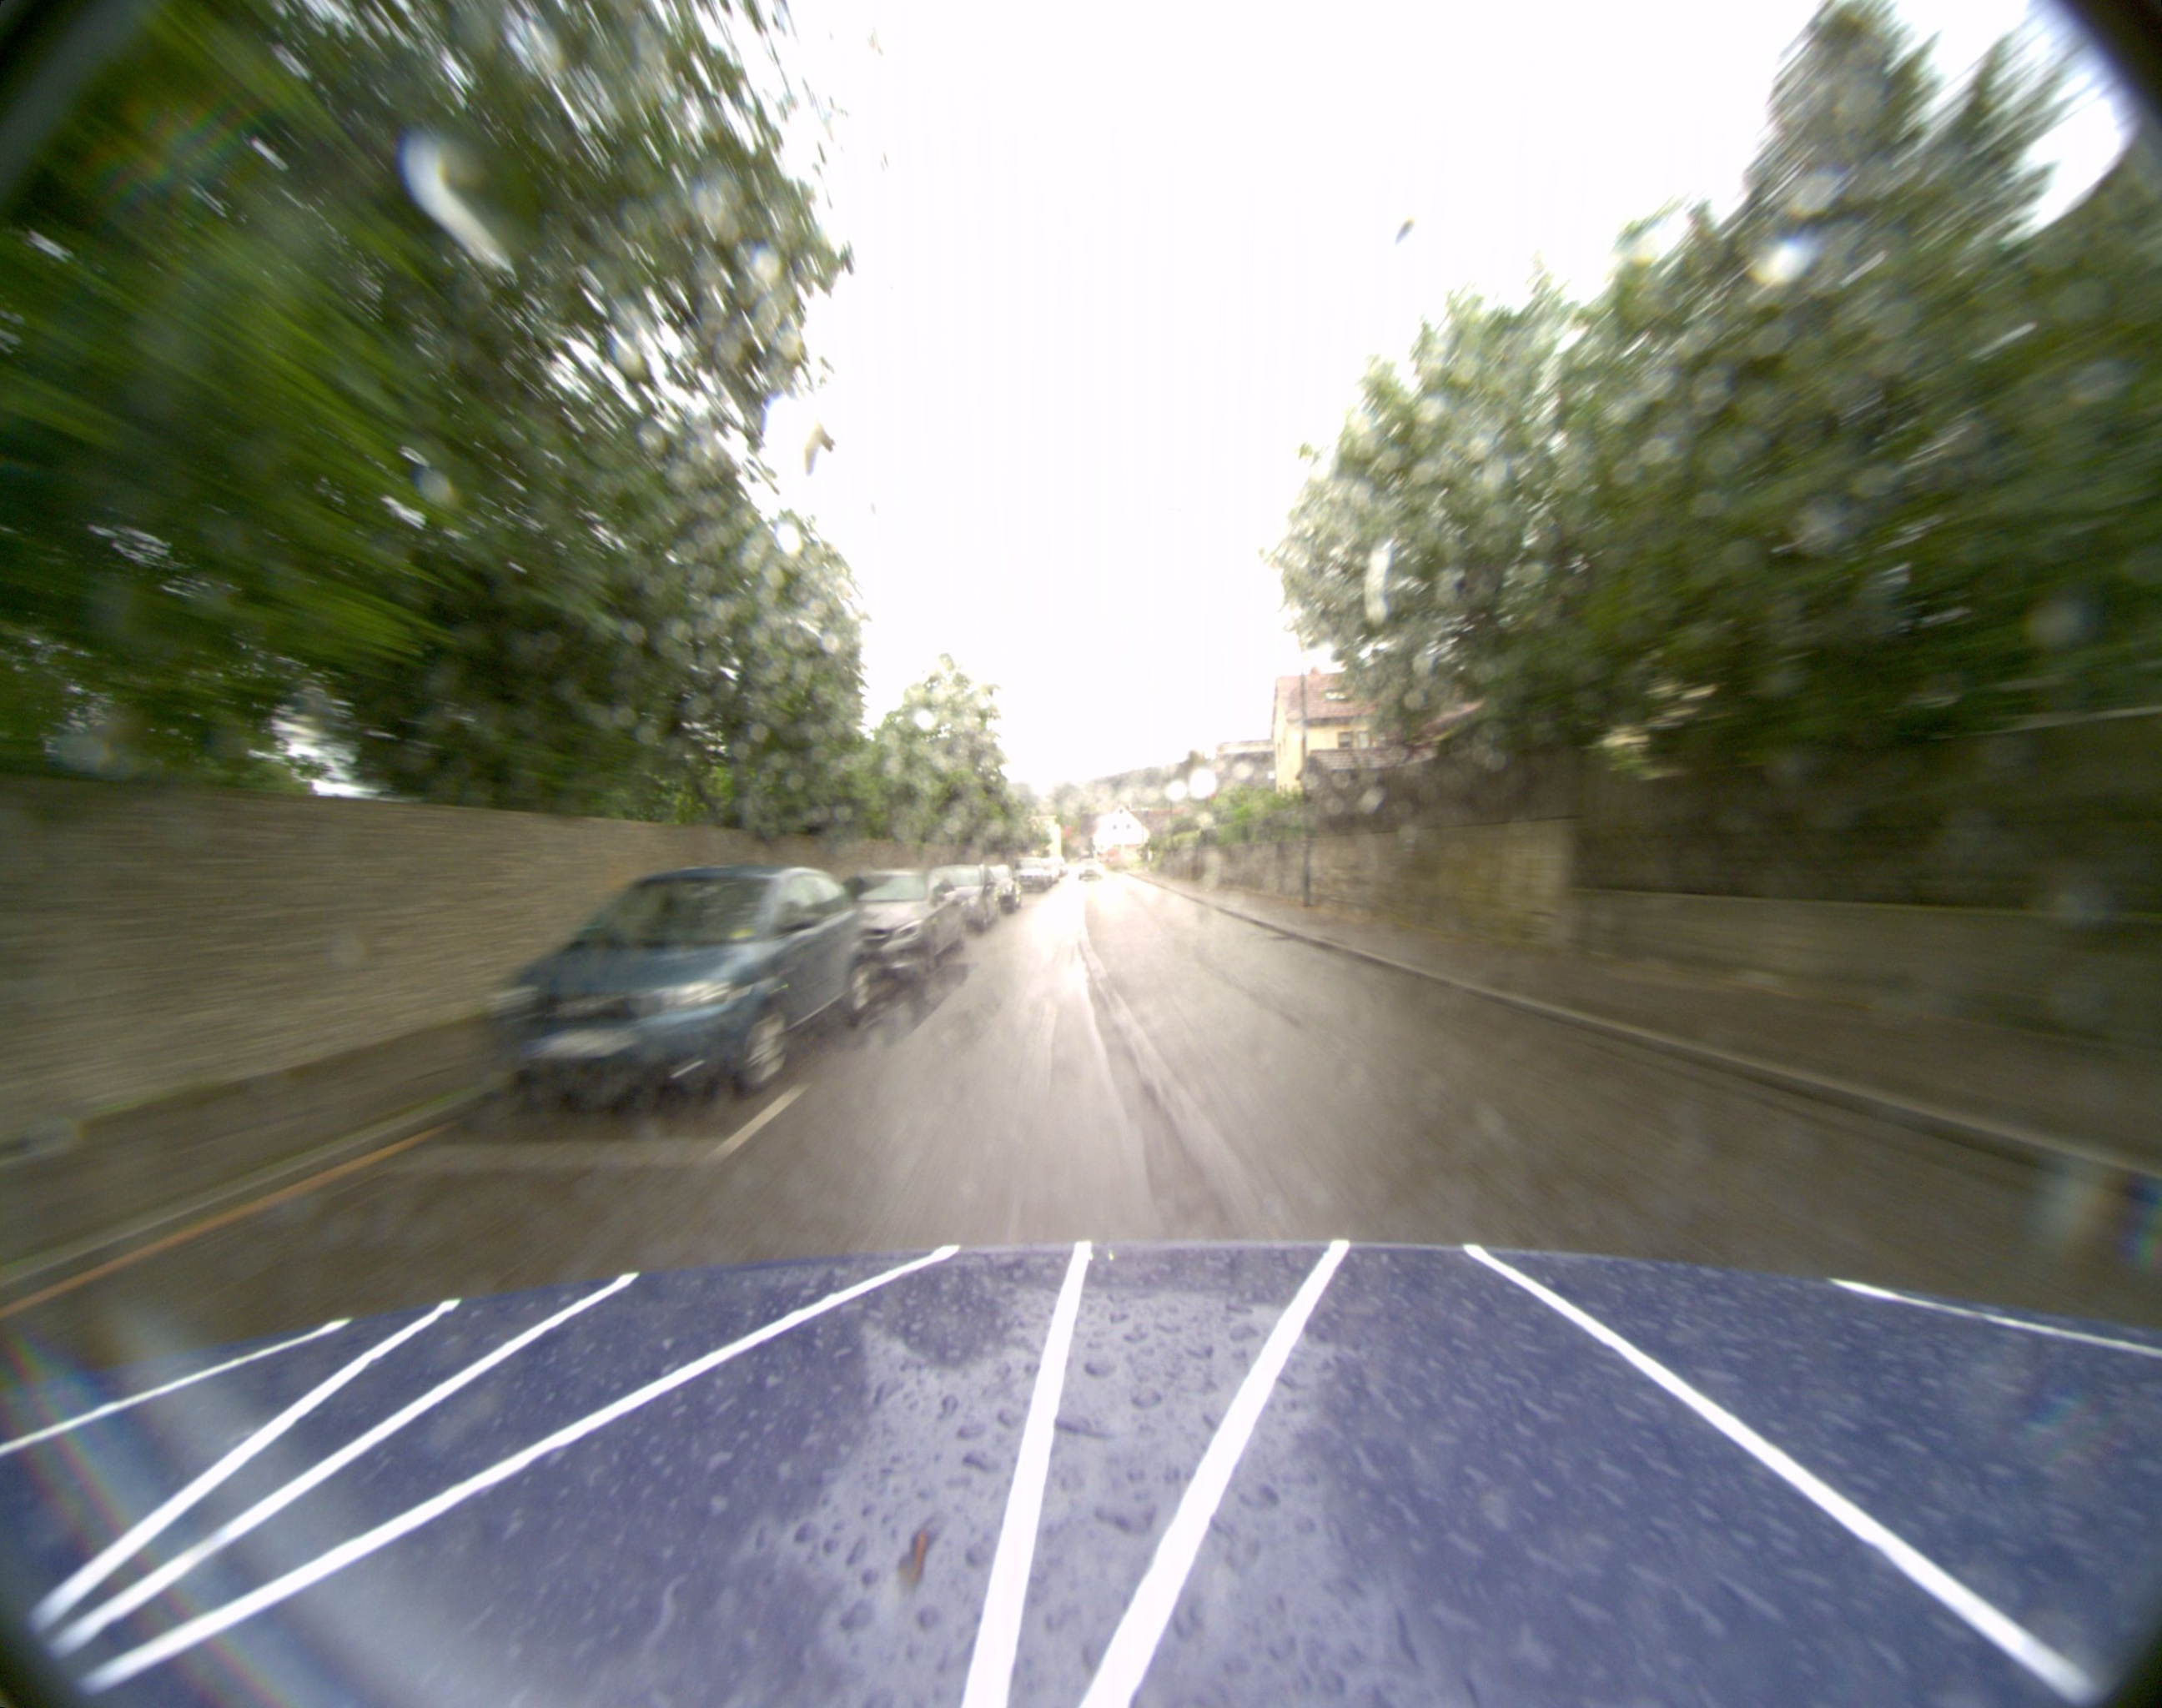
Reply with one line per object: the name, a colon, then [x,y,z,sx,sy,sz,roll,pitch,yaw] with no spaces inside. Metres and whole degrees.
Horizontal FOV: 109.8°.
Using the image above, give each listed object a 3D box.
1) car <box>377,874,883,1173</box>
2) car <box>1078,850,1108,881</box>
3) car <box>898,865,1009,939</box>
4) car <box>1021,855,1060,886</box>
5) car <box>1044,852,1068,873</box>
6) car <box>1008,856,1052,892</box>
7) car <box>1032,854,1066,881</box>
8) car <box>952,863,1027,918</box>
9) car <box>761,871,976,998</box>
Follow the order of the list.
car: [-3.023,1.000,6.164,1.794,1.524,3.800,-2,0,0]
car: [0.805,0.775,54.867,1.999,2.002,3.999,-3,2,0]
car: [-2.800,1.006,17.542,1.764,1.410,4.153,-2,0,1]
car: [-2.249,0.915,43.184,1.833,1.620,4.154,-2,0,2]
car: [-2.293,0.754,70.562,1.949,1.783,4.186,-2,1,1]
car: [-2.402,0.920,36.775,1.833,1.620,4.153,-2,0,0]
car: [-2.052,0.868,49.589,1.833,1.620,4.154,-2,0,2]
car: [-2.651,1.015,22.881,1.764,1.410,4.153,-2,0,-1]
car: [-2.939,1.047,11.647,1.998,1.410,4.484,-2,0,0]
